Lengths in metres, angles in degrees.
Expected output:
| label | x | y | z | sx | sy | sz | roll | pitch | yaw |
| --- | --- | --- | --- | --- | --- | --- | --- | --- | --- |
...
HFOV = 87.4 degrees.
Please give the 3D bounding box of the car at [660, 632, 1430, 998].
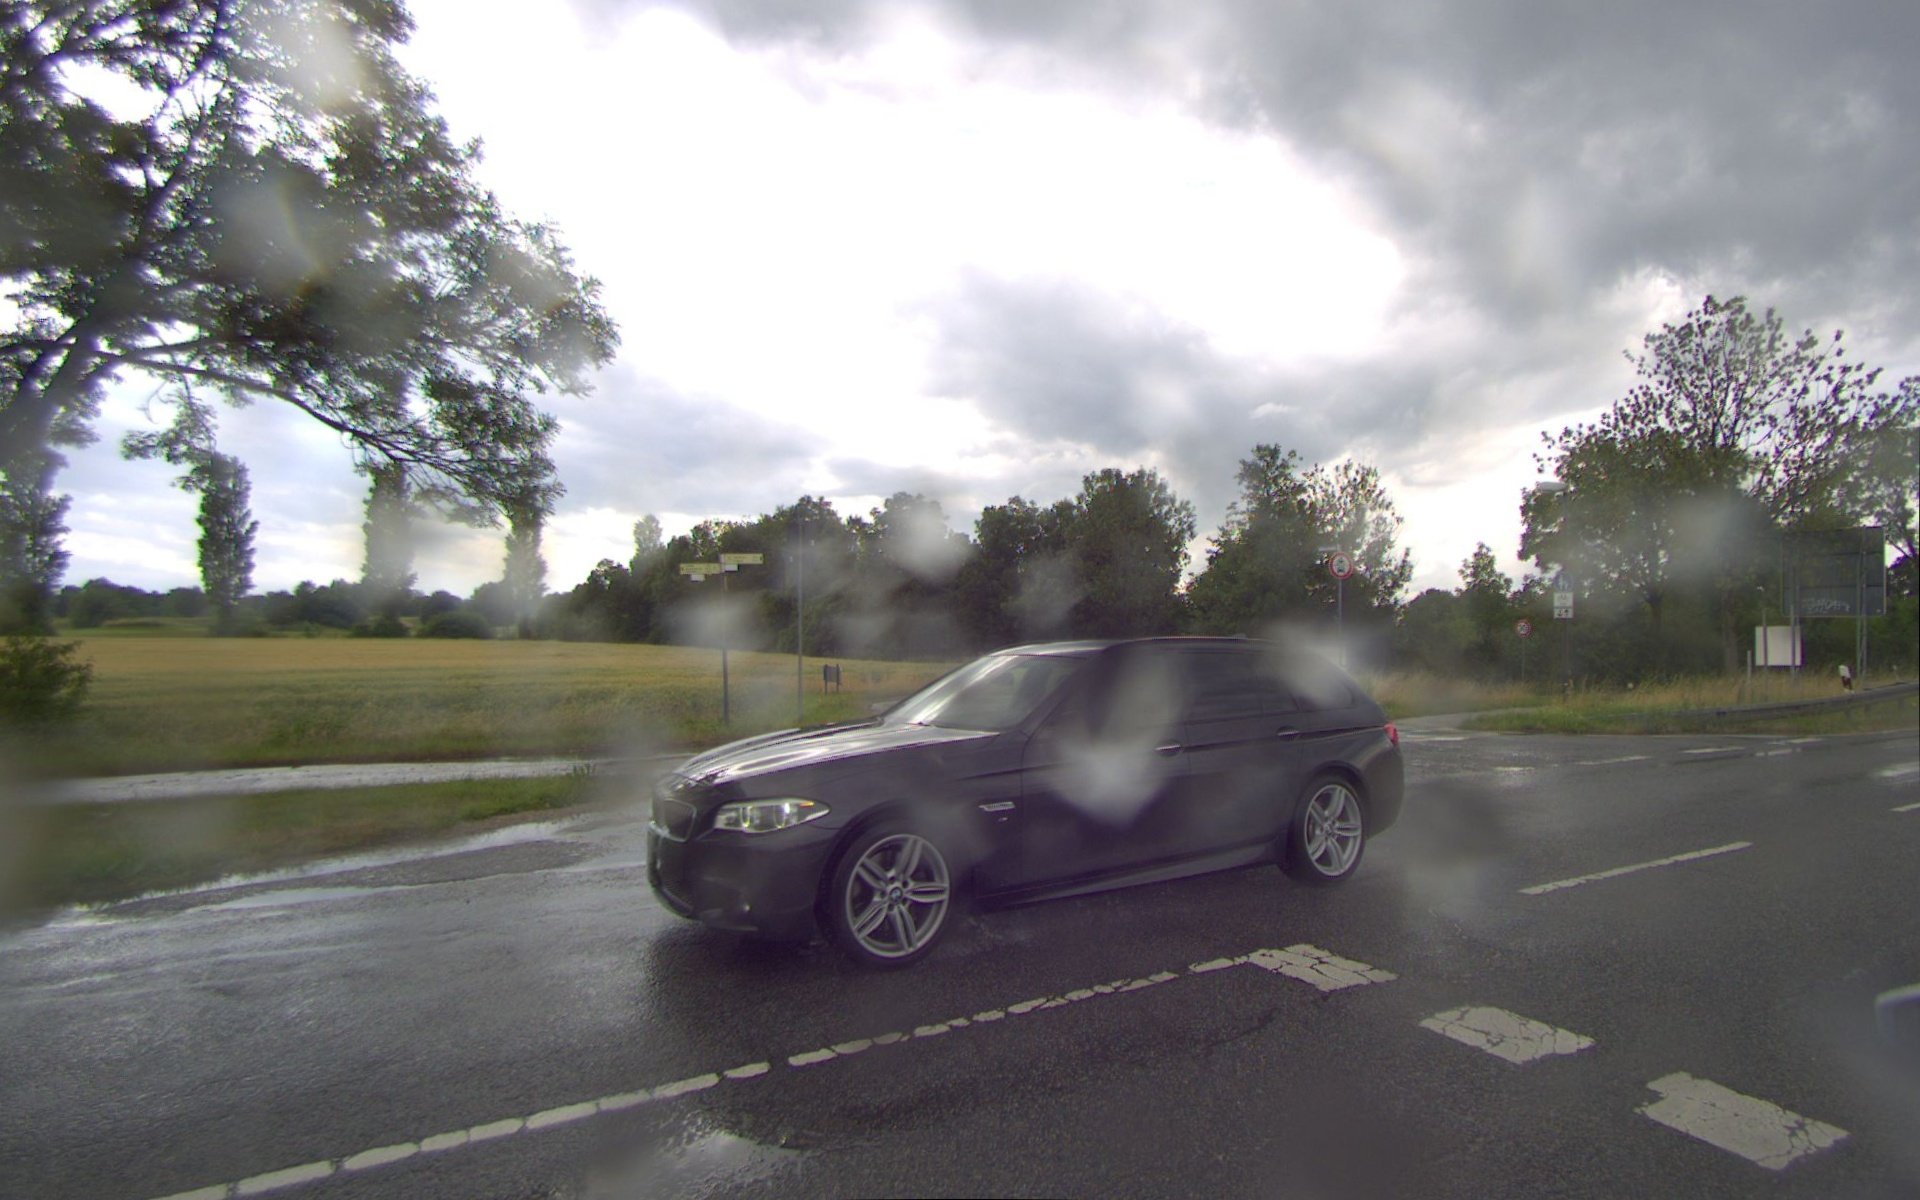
| label | x | y | z | sx | sy | sz | roll | pitch | yaw |
| --- | --- | --- | --- | --- | --- | --- | --- | --- | --- |
| car | 0.654 | 0.946 | 5.939 | 4.364 | 1.457 | 1.756 | 2 | -3 | -32 |
